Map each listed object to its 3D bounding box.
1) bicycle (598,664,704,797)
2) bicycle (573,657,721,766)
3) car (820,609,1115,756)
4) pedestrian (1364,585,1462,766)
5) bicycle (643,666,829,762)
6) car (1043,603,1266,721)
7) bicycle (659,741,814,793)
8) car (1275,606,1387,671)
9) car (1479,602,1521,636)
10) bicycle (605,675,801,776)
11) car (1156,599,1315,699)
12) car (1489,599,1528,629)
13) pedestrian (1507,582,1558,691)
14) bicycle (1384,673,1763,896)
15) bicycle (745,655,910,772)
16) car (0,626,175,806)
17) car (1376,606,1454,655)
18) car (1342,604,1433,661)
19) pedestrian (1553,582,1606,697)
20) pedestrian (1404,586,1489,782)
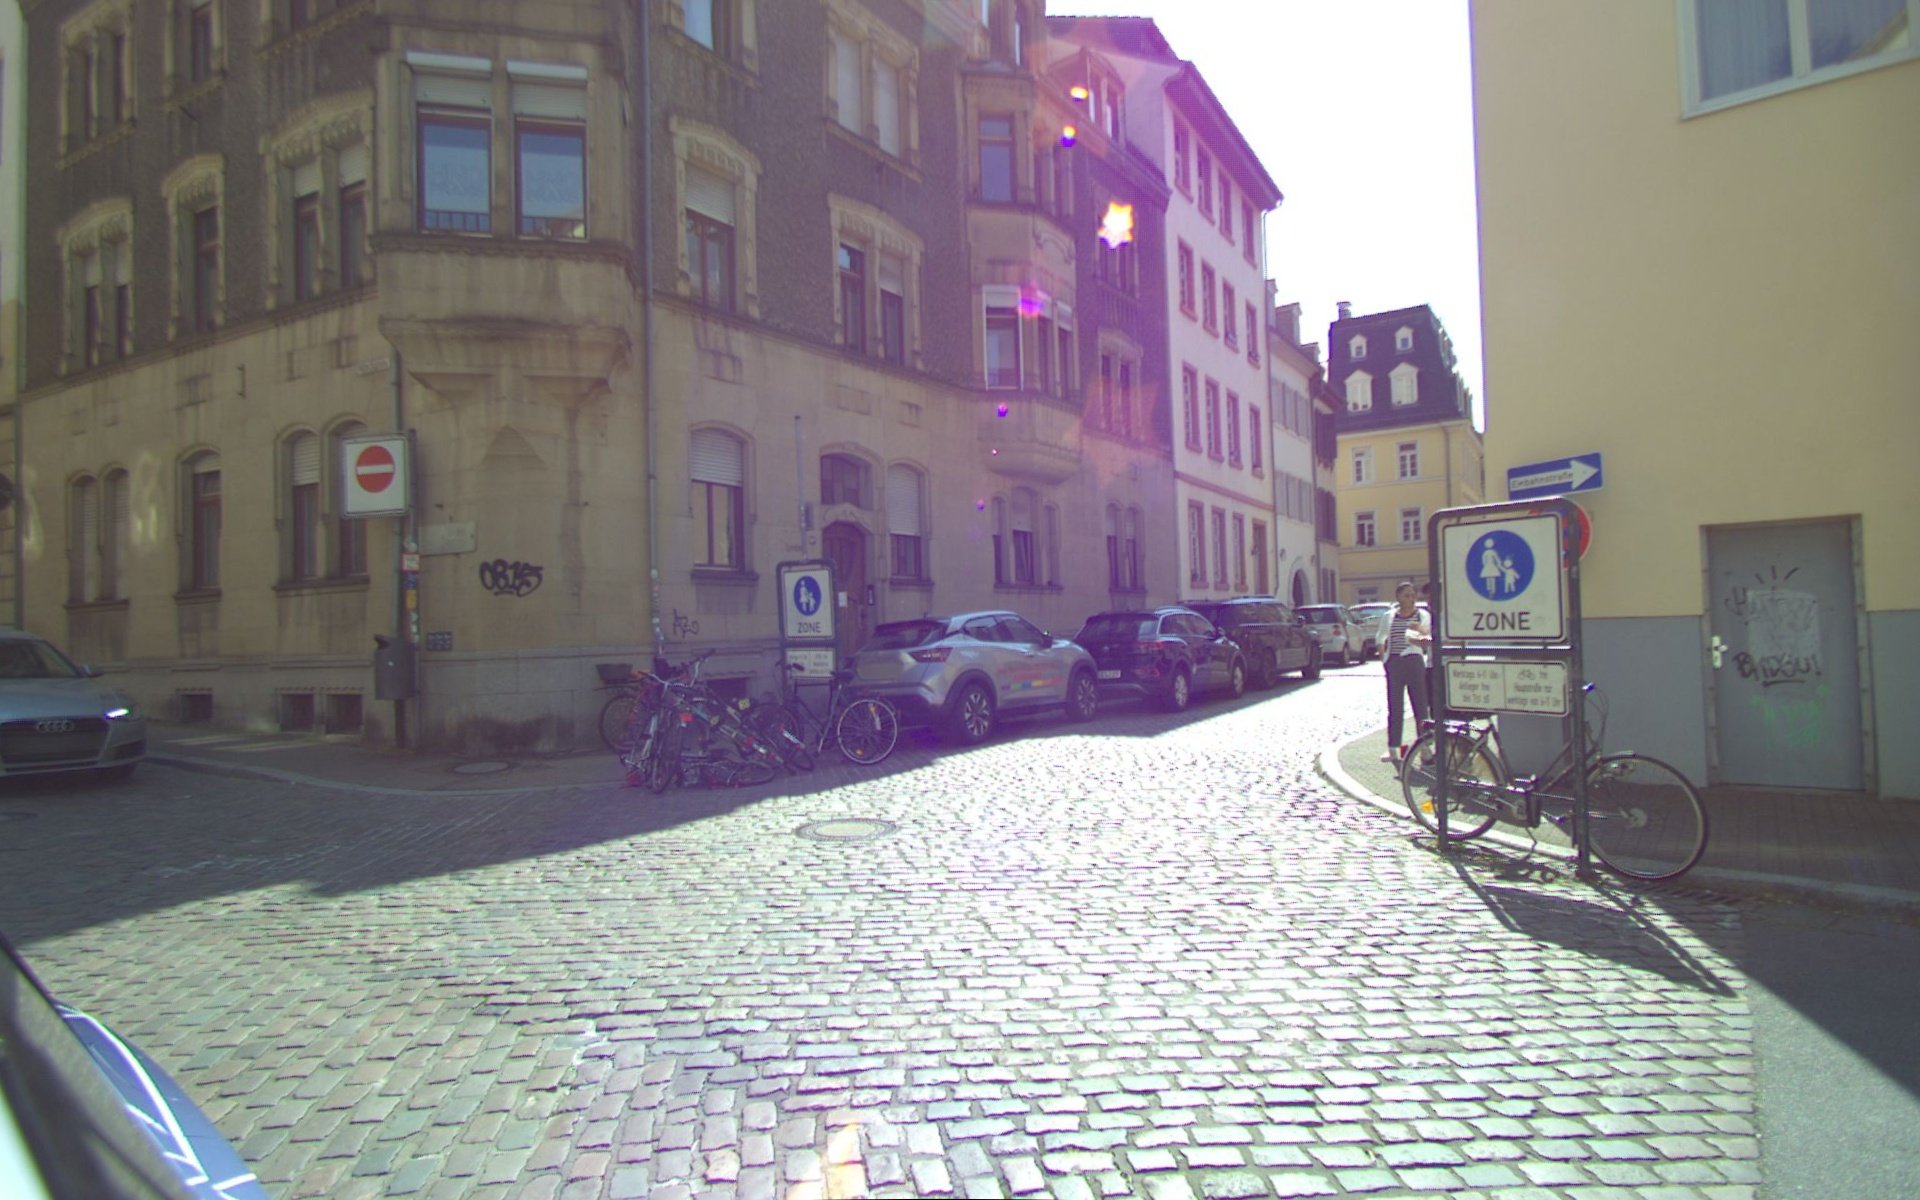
[{"bbox_3d":[-2.895,1.165,9.387,0.281,1.094,1.645,-4,0,-39],"label":"bicycle"},{"bbox_3d":[-3.578,1.245,11.689,0.495,1.094,1.622,2,0,36],"label":"bicycle"},{"bbox_3d":[0.239,0.930,12.907,1.849,1.556,3.881,-3,-2,36],"label":"car"},{"bbox_3d":[4.305,0.694,9.601,0.687,1.630,0.749,-4,-2,29],"label":"pedestrian"},{"bbox_3d":[-2.284,1.157,10.333,1.633,1.080,0.287,-2,42,26],"label":"bicycle"},{"bbox_3d":[3.200,0.923,16.063,1.849,1.556,3.950,-5,-2,37],"label":"car"},{"bbox_3d":[-2.146,1.578,9.694,1.061,0.290,1.126,0,-2,-39],"label":"bicycle"},{"bbox_3d":[9.551,0.933,25.929,1.660,1.454,3.813,-2,0,37],"label":"car"},{"bbox_3d":[34.308,1.222,64.271,1.994,2.029,3.955,-3,-2,33],"label":"car"},{"bbox_3d":[-2.506,1.221,9.892,1.633,1.080,0.287,-2,42,26],"label":"bicycle"},{"bbox_3d":[5.289,0.844,19.157,1.566,1.648,3.812,-2,0,37],"label":"car"},{"bbox_3d":[38.482,0.978,70.957,1.994,2.029,3.955,-3,-2,33],"label":"car"},{"bbox_3d":[9.588,0.587,16.955,0.618,1.757,0.851,1,2,39],"label":"pedestrian"},{"bbox_3d":[3.572,1.014,6.099,0.385,1.087,1.914,0,-2,-36],"label":"bicycle"},{"bbox_3d":[-1.370,1.168,10.408,1.624,1.094,0.285,-4,-4,9],"label":"bicycle"},{"bbox_3d":[-9.850,1.021,9.927,4.364,1.503,1.859,-1,-1,29],"label":"car"},{"bbox_3d":[14.720,0.951,32.690,1.565,1.454,3.600,-2,0,36],"label":"car"},{"bbox_3d":[12.162,0.884,28.675,1.565,1.454,3.600,-2,0,36],"label":"car"},{"bbox_3d":[9.921,0.606,16.207,0.618,1.757,0.851,1,2,39],"label":"pedestrian"},{"bbox_3d":[4.222,0.708,8.815,0.488,1.630,0.654,-2,-1,14],"label":"pedestrian"}]
